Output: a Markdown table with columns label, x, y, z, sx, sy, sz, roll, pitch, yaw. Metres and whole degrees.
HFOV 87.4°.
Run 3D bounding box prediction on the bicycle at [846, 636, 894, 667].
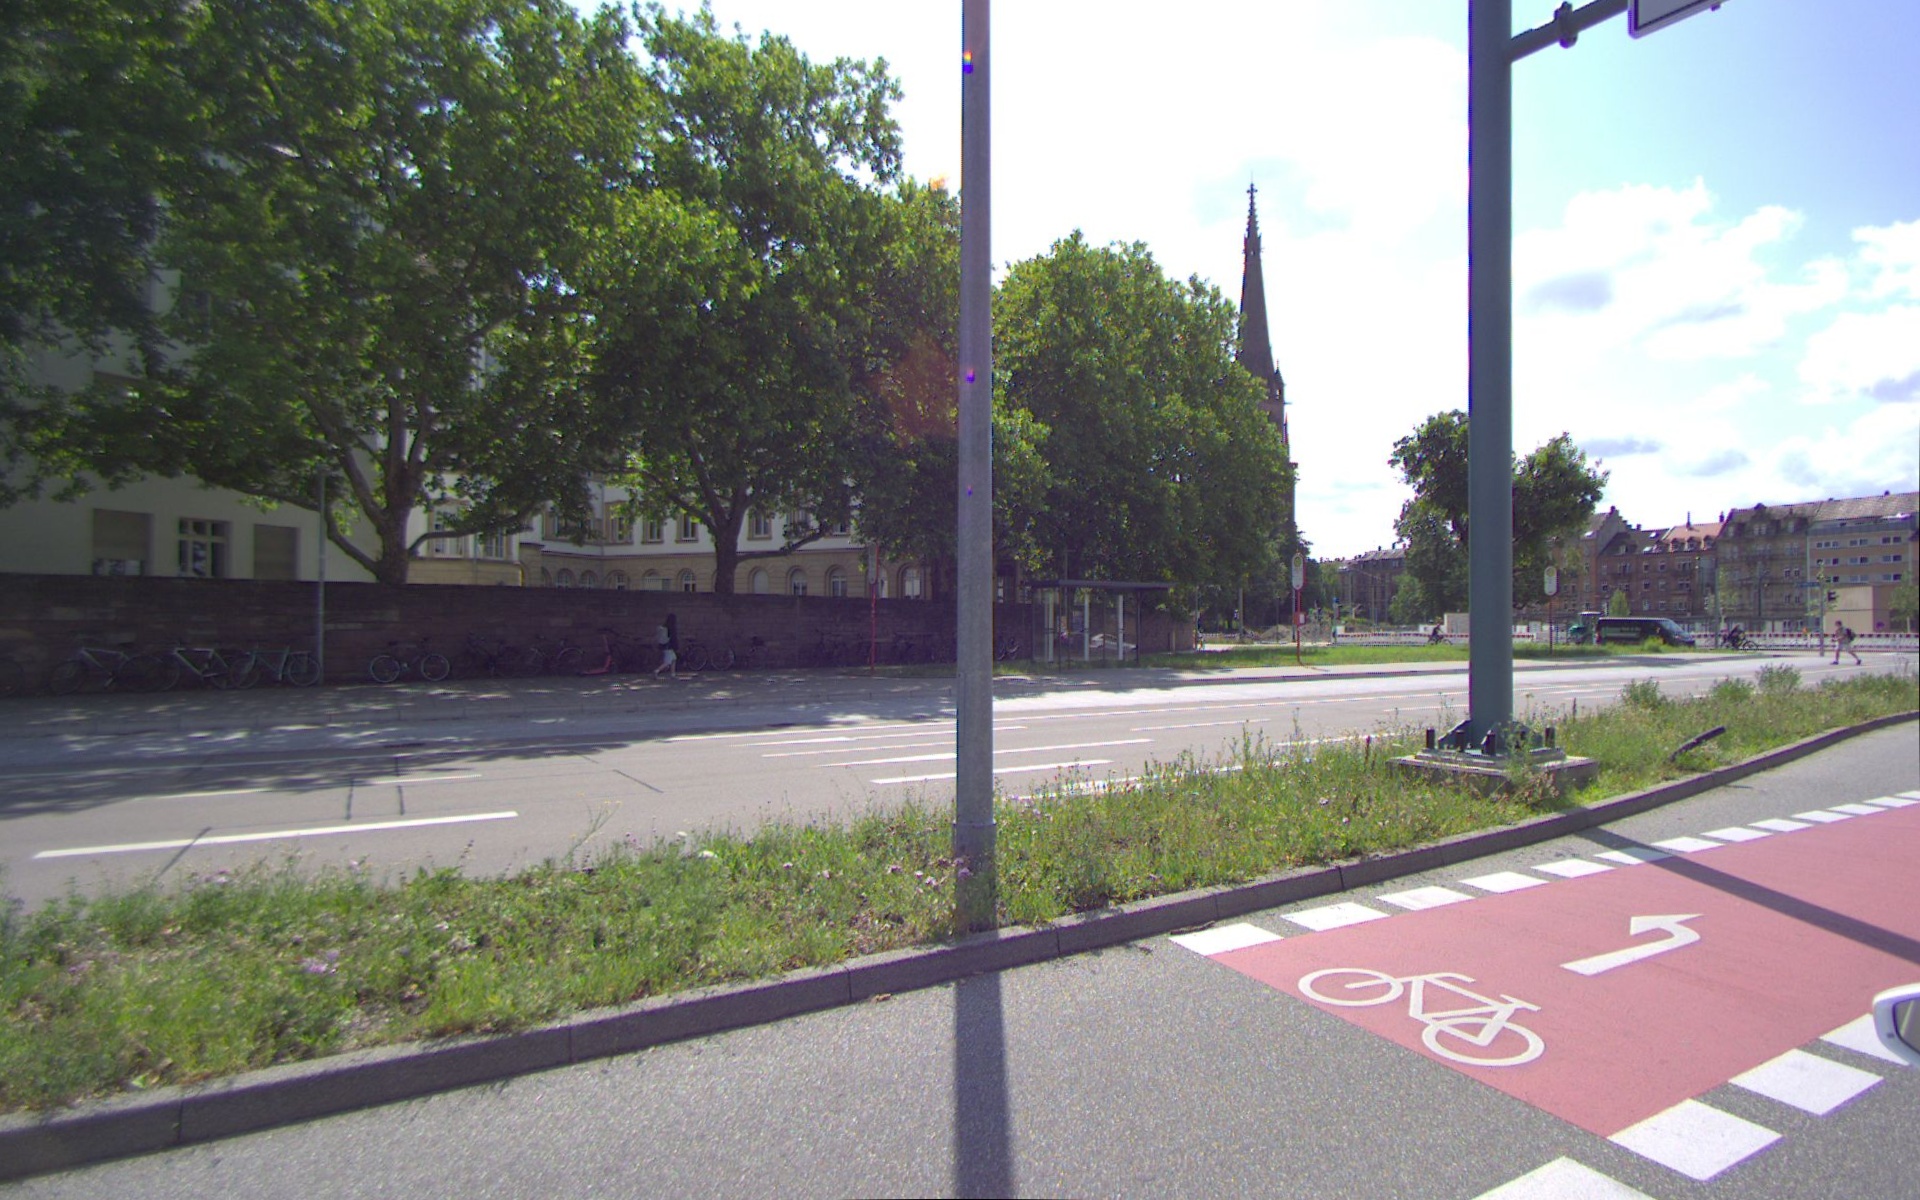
| label | x | y | z | sx | sy | sz | roll | pitch | yaw |
| --- | --- | --- | --- | --- | --- | --- | --- | --- | --- |
| bicycle | -2.976 | 1.700 | 33.248 | 0.537 | 0.964 | 1.656 | -1 | -1 | 42 |

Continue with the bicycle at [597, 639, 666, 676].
| label | x | y | z | sx | sy | sz | roll | pitch | yaw |
| --- | --- | --- | --- | --- | --- | --- | --- | --- | --- |
| bicycle | -8.649 | 1.494 | 26.478 | 1.654 | 0.914 | 0.538 | 1 | -1 | -44 |

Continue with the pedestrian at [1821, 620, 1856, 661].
| label | x | y | z | sx | sy | sz | roll | pitch | yaw |
| --- | --- | --- | --- | --- | --- | --- | --- | --- | --- |
| pedestrian | 34.166 | 1.557 | 39.074 | 0.858 | 1.580 | 0.555 | 0 | -1 | 18 |

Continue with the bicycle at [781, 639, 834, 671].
| label | x | y | z | sx | sy | sz | roll | pitch | yaw |
| --- | --- | --- | --- | --- | --- | --- | --- | --- | --- |
| bicycle | -4.703 | 1.689 | 31.108 | 0.538 | 0.914 | 1.656 | -1 | -1 | 43 |

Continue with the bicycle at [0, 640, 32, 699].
| label | x | y | z | sx | sy | sz | roll | pitch | yaw |
| --- | --- | --- | --- | --- | --- | --- | --- | --- | --- |
| bicycle | -17.511 | 1.229 | 17.614 | 1.787 | 1.021 | 0.476 | 1 | -1 | -41 |

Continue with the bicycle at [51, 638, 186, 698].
| label | x | y | z | sx | sy | sz | roll | pitch | yaw |
| --- | --- | --- | --- | --- | --- | --- | --- | --- | --- |
| bicycle | -15.929 | 1.265 | 19.050 | 1.936 | 1.061 | 0.538 | 1 | -1 | -44 |

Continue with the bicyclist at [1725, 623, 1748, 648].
| label | x | y | z | sx | sy | sz | roll | pitch | yaw |
| --- | --- | --- | --- | --- | --- | --- | --- | --- | --- |
| bicyclist | 46.465 | 2.106 | 60.096 | 0.546 | 1.493 | 0.961 | 1 | -1 | -38 |

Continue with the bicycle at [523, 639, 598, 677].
| label | x | y | z | sx | sy | sz | roll | pitch | yaw |
| --- | --- | --- | --- | --- | --- | --- | --- | --- | --- |
| bicycle | -9.972 | 1.439 | 25.111 | 1.654 | 0.914 | 0.538 | 2 | -2 | -44 |

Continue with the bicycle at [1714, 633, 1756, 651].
| label | x | y | z | sx | sy | sz | roll | pitch | yaw |
| --- | --- | --- | --- | --- | --- | --- | --- | --- | --- |
| bicycle | 46.418 | 2.507 | 60.162 | 0.543 | 1.044 | 1.906 | 1 | -1 | -37 |

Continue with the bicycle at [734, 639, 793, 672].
| label | x | y | z | sx | sy | sz | roll | pitch | yaw |
| --- | --- | --- | --- | --- | --- | --- | --- | --- | --- |
| bicycle | -5.772 | 1.623 | 29.524 | 1.649 | 0.914 | 0.498 | 1 | -1 | -35 |

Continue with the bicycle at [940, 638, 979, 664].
| label | x | y | z | sx | sy | sz | roll | pitch | yaw |
| --- | --- | --- | --- | --- | --- | --- | --- | --- | --- |
| bicycle | -0.011 | 1.903 | 37.388 | 0.537 | 0.914 | 1.658 | 0 | -1 | 38 |

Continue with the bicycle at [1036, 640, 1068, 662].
| label | x | y | z | sx | sy | sz | roll | pitch | yaw |
| --- | --- | --- | --- | --- | --- | --- | --- | --- | --- |
| bicycle | 3.969 | 2.177 | 43.178 | 0.537 | 0.914 | 1.658 | 0 | -1 | 38 |

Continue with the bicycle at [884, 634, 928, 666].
| label | x | y | z | sx | sy | sz | roll | pitch | yaw |
| --- | --- | --- | --- | --- | --- | --- | --- | --- | --- |
| bicycle | -1.852 | 1.702 | 34.505 | 0.537 | 1.065 | 1.615 | -1 | -1 | 42 |

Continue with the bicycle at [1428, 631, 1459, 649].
| label | x | y | z | sx | sy | sz | roll | pitch | yaw |
| --- | --- | --- | --- | --- | --- | --- | --- | --- | --- |
| bicycle | 36.379 | 2.999 | 75.564 | 0.599 | 1.307 | 2.049 | 1 | -1 | -37 |

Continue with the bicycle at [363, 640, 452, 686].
| label | x | y | z | sx | sy | sz | roll | pitch | yaw |
| --- | --- | --- | --- | --- | --- | --- | --- | --- | --- |
| bicycle | -12.272 | 1.374 | 22.346 | 1.654 | 0.962 | 0.538 | 1 | -1 | -44 |

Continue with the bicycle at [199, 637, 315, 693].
| label | x | y | z | sx | sy | sz | roll | pitch | yaw |
| --- | --- | --- | --- | --- | --- | --- | --- | --- | --- |
| bicycle | -14.300 | 1.305 | 20.478 | 1.882 | 1.061 | 0.538 | 1 | -1 | -44 |

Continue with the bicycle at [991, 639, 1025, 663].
| label | x | y | z | sx | sy | sz | roll | pitch | yaw |
| --- | --- | --- | --- | --- | --- | --- | --- | --- | --- |
| bicycle | 1.930 | 2.025 | 40.269 | 0.446 | 0.914 | 1.787 | 0 | -1 | 38 |

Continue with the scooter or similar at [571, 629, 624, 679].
| label | x | y | z | sx | sy | sz | roll | pitch | yaw |
| --- | --- | --- | --- | --- | --- | --- | --- | --- | --- |
| scooter or similar | -9.049 | 1.334 | 25.103 | 0.426 | 1.199 | 1.188 | -1 | -1 | 38 |

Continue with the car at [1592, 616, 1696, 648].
| label | x | y | z | sx | sy | sz | roll | pitch | yaw |
| --- | --- | --- | --- | --- | --- | --- | --- | --- | --- |
| car | 41.915 | 1.934 | 61.659 | 1.909 | 1.904 | 4.978 | 0 | -1 | -34 |

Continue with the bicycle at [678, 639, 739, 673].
| label | x | y | z | sx | sy | sz | roll | pitch | yaw |
| --- | --- | --- | --- | --- | --- | --- | --- | --- | --- |
| bicycle | -7.083 | 1.573 | 28.347 | 0.538 | 0.914 | 1.655 | -1 | -1 | 43 |

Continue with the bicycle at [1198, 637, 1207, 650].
| label | x | y | z | sx | sy | sz | roll | pitch | yaw |
| --- | --- | --- | --- | --- | --- | --- | --- | --- | --- |
| bicycle | 16.992 | 3.049 | 70.440 | 0.534 | 0.914 | 1.666 | 0 | -1 | 11 |

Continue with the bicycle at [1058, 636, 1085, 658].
| label | x | y | z | sx | sy | sz | roll | pitch | yaw |
| --- | --- | --- | --- | --- | --- | --- | --- | --- | --- |
| bicycle | 5.006 | 2.096 | 44.989 | 0.536 | 0.914 | 1.661 | 0 | -1 | 33 |

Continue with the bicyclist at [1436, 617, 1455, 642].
| label | x | y | z | sx | sy | sz | roll | pitch | yaw |
| --- | --- | --- | --- | --- | --- | --- | --- | --- | --- |
| bicyclist | 36.556 | 2.250 | 75.643 | 0.588 | 1.869 | 1.111 | 0 | -1 | -38 |

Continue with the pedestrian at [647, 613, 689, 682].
| label | x | y | z | sx | sy | sz | roll | pitch | yaw |
| --- | --- | --- | --- | --- | --- | --- | --- | --- | --- |
| pedestrian | -7.110 | 1.138 | 24.454 | 0.607 | 1.638 | 0.754 | 1 | 0 | 38 |

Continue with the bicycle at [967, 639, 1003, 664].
| label | x | y | z | sx | sy | sz | roll | pitch | yaw |
| --- | --- | --- | --- | --- | --- | --- | --- | --- | --- |
| bicycle | 0.980 | 1.991 | 38.759 | 0.537 | 0.914 | 1.658 | 0 | -1 | 38 |

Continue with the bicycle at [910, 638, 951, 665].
| label | x | y | z | sx | sy | sz | roll | pitch | yaw |
| --- | --- | --- | --- | --- | --- | --- | --- | --- | --- |
| bicycle | -1.038 | 1.839 | 36.008 | 0.537 | 0.914 | 1.658 | 0 | -1 | 38 |
